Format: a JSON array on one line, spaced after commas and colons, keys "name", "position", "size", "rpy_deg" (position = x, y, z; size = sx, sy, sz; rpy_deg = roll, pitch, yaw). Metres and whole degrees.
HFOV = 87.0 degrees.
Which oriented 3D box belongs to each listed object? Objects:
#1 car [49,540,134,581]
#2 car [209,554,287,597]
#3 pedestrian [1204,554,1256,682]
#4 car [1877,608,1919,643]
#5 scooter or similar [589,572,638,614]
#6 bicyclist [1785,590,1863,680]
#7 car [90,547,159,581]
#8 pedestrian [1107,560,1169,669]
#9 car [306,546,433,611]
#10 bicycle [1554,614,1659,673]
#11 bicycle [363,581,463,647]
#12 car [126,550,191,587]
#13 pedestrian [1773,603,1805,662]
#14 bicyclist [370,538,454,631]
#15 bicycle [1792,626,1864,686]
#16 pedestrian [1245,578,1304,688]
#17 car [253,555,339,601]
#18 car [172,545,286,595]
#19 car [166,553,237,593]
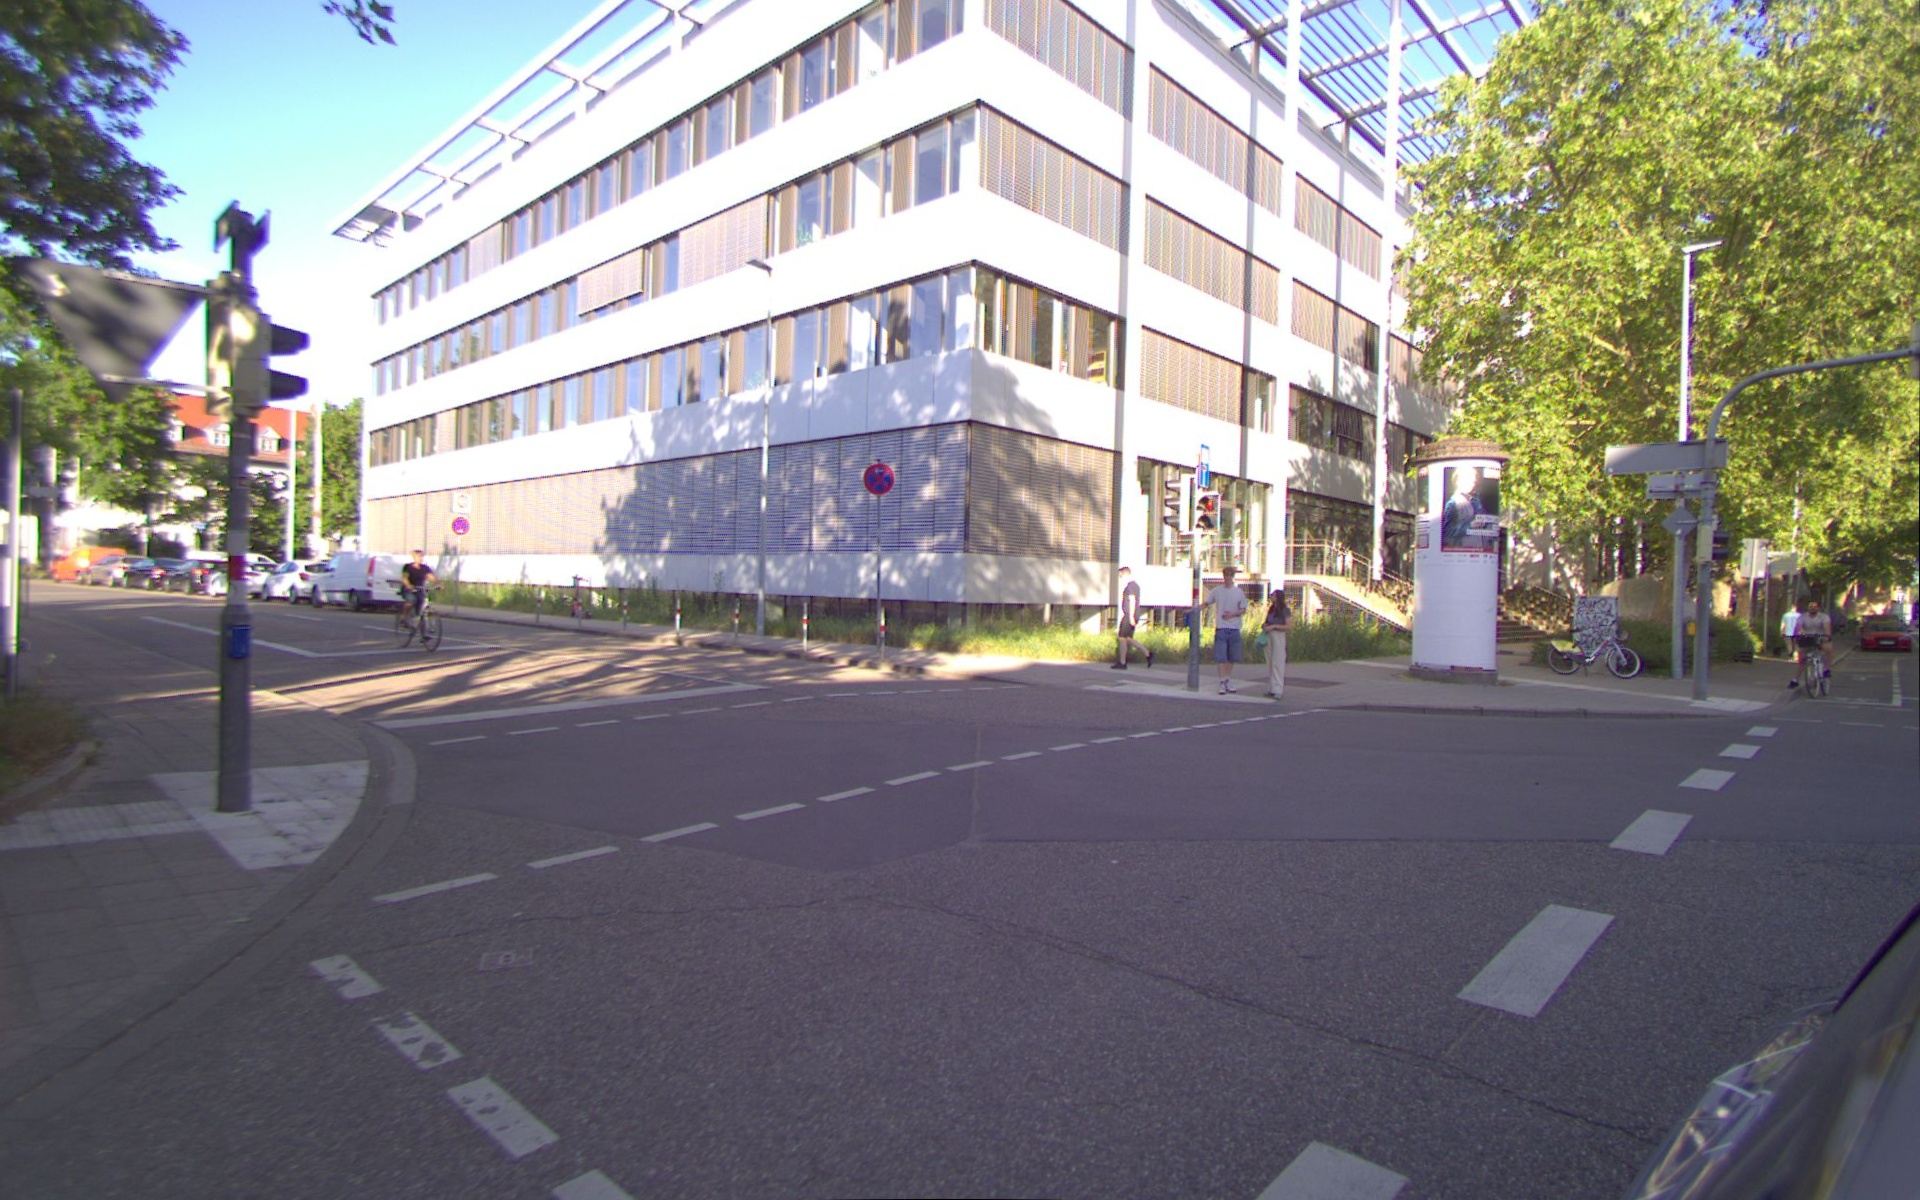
[{"name": "car", "position": [-43.481, -1.983, 50.631], "size": [4.882, 1.808, 2.065], "rpy_deg": [4, 3, 35]}, {"name": "car", "position": [-26.980, -0.957, 38.306], "size": [3.836, 1.503, 1.605], "rpy_deg": [3, 1, 42]}, {"name": "pedestrian", "position": [4.046, 0.262, 15.137], "size": [0.598, 1.862, 0.564], "rpy_deg": [1, 0, 28]}, {"name": "car", "position": [45.192, 1.200, 48.510], "size": [1.781, 1.548, 4.586], "rpy_deg": [2, 1, 42]}, {"name": "scooter or similar", "position": [-10.255, -0.218, 29.933], "size": [1.551, 1.194, 0.689], "rpy_deg": [2, 1, 41]}, {"name": "bicyclist", "position": [16.526, 0.652, 19.359], "size": [0.989, 1.661, 0.949], "rpy_deg": [1, 0, -39]}, {"name": "car", "position": [-39.178, -1.698, 47.448], "size": [3.580, 1.509, 1.610], "rpy_deg": [3, 1, 35]}, {"name": "pedestrian", "position": [3.074, 0.235, 17.450], "size": [0.980, 1.792, 0.604], "rpy_deg": [2, 4, 12]}, {"name": "car", "position": [-18.379, -0.699, 31.411], "size": [4.702, 1.851, 2.077], "rpy_deg": [3, 1, 42]}, {"name": "bicycle", "position": [13.006, 0.869, 20.411], "size": [1.615, 1.011, 0.619], "rpy_deg": [4, 4, 19]}, {"name": "bicycle", "position": [-9.493, 0.215, 17.538], "size": [2.011, 1.029, 0.709], "rpy_deg": [2, 2, 35]}, {"name": "car", "position": [-35.095, -1.407, 44.306], "size": [3.836, 1.503, 1.605], "rpy_deg": [3, 1, 42]}, {"name": "pedestrian", "position": [26.092, 1.027, 31.864], "size": [0.667, 1.820, 0.657], "rpy_deg": [-3, -2, 38]}, {"name": "bicyclist", "position": [-9.479, -0.276, 17.521], "size": [1.081, 1.555, 0.867], "rpy_deg": [2, 0, 35]}, {"name": "bicycle", "position": [16.651, 1.070, 19.404], "size": [1.893, 1.080, 0.703], "rpy_deg": [3, -1, -39]}, {"name": "pedestrian", "position": [4.563, 0.465, 14.667], "size": [0.668, 1.543, 0.555], "rpy_deg": [2, 0, 32]}, {"name": "car", "position": [-23.253, -0.782, 35.392], "size": [3.836, 1.503, 1.605], "rpy_deg": [3, 1, 42]}, {"name": "car", "position": [-43.226, -1.745, 59.995], "size": [1.984, 2.651, 5.064], "rpy_deg": [4, 1, 29]}, {"name": "car", "position": [-31.035, -1.120, 41.393], "size": [3.836, 1.503, 1.605], "rpy_deg": [3, 1, 42]}]
